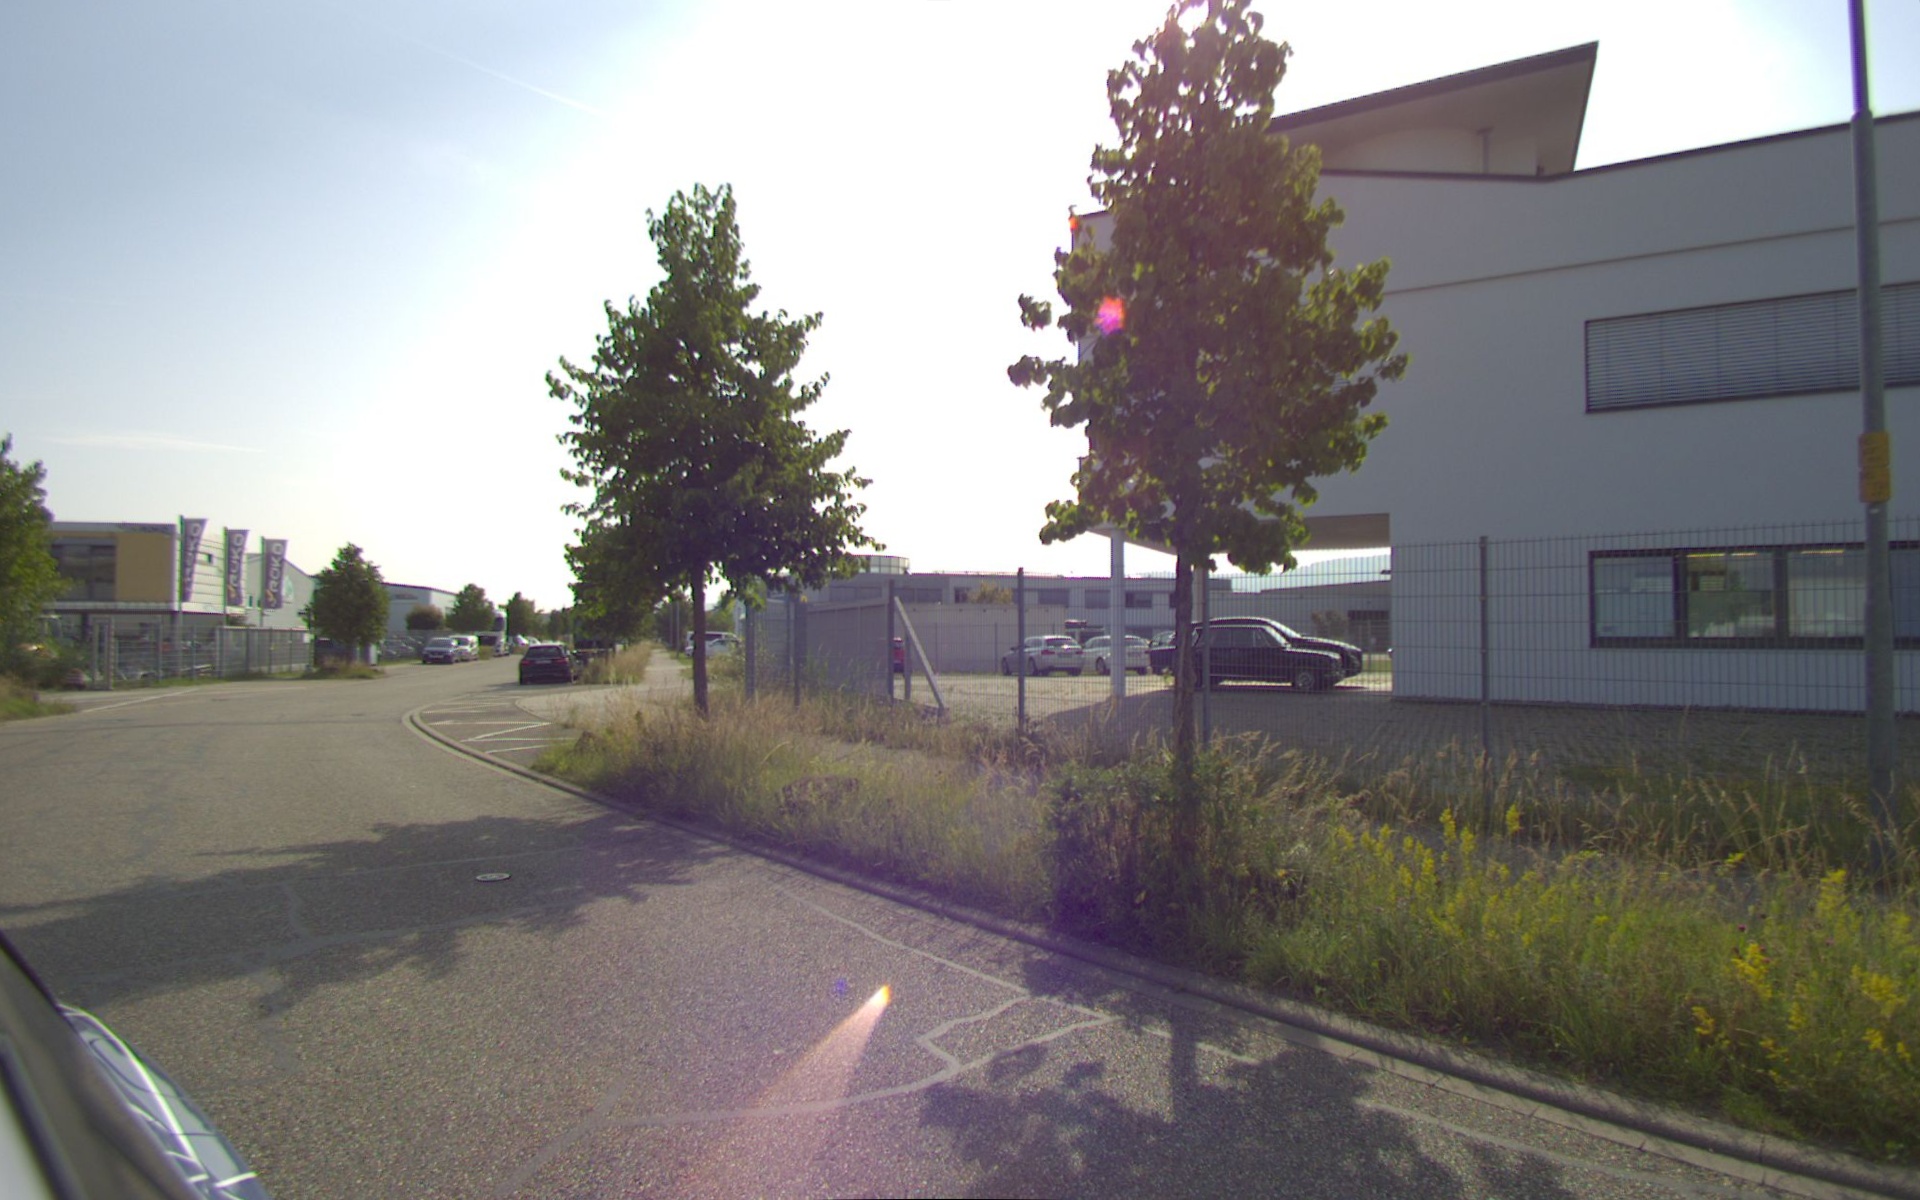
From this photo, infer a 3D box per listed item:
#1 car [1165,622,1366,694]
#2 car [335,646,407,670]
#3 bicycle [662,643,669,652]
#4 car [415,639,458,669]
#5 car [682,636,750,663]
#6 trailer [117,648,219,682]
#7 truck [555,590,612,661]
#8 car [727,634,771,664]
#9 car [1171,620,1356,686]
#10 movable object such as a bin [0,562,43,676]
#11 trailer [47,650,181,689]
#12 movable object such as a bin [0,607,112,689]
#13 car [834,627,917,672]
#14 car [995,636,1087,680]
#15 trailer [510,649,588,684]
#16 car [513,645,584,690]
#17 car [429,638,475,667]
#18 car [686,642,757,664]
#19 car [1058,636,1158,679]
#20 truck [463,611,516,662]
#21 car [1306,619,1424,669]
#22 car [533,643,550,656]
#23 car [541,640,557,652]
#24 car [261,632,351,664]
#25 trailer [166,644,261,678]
[{"bbox_3d":[6.558,1.224,21.819,3.904,1.426,1.548,-2,-2,29],"label":"car"},{"bbox_3d":[-39.628,3.909,68.194,3.931,1.381,1.796,-1,-2,-21],"label":"car"},{"bbox_3d":[-30.633,4.953,105.327,0.533,0.986,1.875,0,-2,-13],"label":"bicycle"},{"bbox_3d":[-33.610,3.433,65.046,1.800,1.733,4.262,0,-1,-18],"label":"car"},{"bbox_3d":[-17.639,3.552,73.125,4.639,1.850,2.109,0,-2,-16],"label":"car"},{"bbox_3d":[-32.146,2.597,41.241,1.917,1.253,4.307,0,-2,-18],"label":"trailer"},{"bbox_3d":[-22.909,1.540,61.918,2.422,3.911,9.830,-2,-1,-16],"label":"truck"},{"bbox_3d":[-12.543,2.874,59.915,1.966,1.699,4.713,1,-2,-18],"label":"car"},{"bbox_3d":[7.333,1.263,24.496,3.982,1.499,1.851,-2,-2,29],"label":"car"},{"bbox_3d":[-42.293,0.773,42.030,3.270,4.843,7.696,0,-3,-18],"label":"movable object such as a bin"},{"bbox_3d":[-30.575,2.481,36.779,2.096,1.253,4.810,0,-2,-18],"label":"trailer"},{"bbox_3d":[-33.619,1.737,37.147,1.861,2.773,5.174,0,-2,-16],"label":"movable object such as a bin"},{"bbox_3d":[-3.126,1.795,36.416,1.745,1.537,4.318,0,-3,-22],"label":"car"},{"bbox_3d":[2.946,2.163,37.703,1.807,1.506,4.491,0,-3,-18],"label":"car"},{"bbox_3d":[-17.185,2.740,42.687,2.101,1.242,7.176,-2,-2,-15],"label":"trailer"},{"bbox_3d":[-14.978,2.414,37.049,1.966,1.478,4.445,-2,-2,-16],"label":"car"},{"bbox_3d":[-34.791,3.549,69.379,1.966,1.803,4.613,0,-1,-16],"label":"car"},{"bbox_3d":[-16.612,3.700,70.513,4.661,1.442,2.006,0,-2,-17],"label":"car"},{"bbox_3d":[5.493,2.182,38.232,1.908,1.506,4.491,0,-3,-18],"label":"car"},{"bbox_3d":[-39.620,3.123,85.524,2.707,4.046,9.715,2,-3,-17],"label":"truck"},{"bbox_3d":[16.269,1.805,40.931,1.908,1.922,4.491,0,-3,-18],"label":"car"},{"bbox_3d":[-52.020,6.138,125.923,1.641,1.515,3.551,2,-3,-17],"label":"car"},{"bbox_3d":[-54.241,6.110,133.697,1.666,1.515,3.551,2,-3,-17],"label":"car"},{"bbox_3d":[-38.072,2.795,59.055,4.165,1.750,1.905,0,-2,-24],"label":"car"},{"bbox_3d":[-33.671,2.734,45.811,1.966,1.320,4.577,0,-1,-16],"label":"trailer"}]
